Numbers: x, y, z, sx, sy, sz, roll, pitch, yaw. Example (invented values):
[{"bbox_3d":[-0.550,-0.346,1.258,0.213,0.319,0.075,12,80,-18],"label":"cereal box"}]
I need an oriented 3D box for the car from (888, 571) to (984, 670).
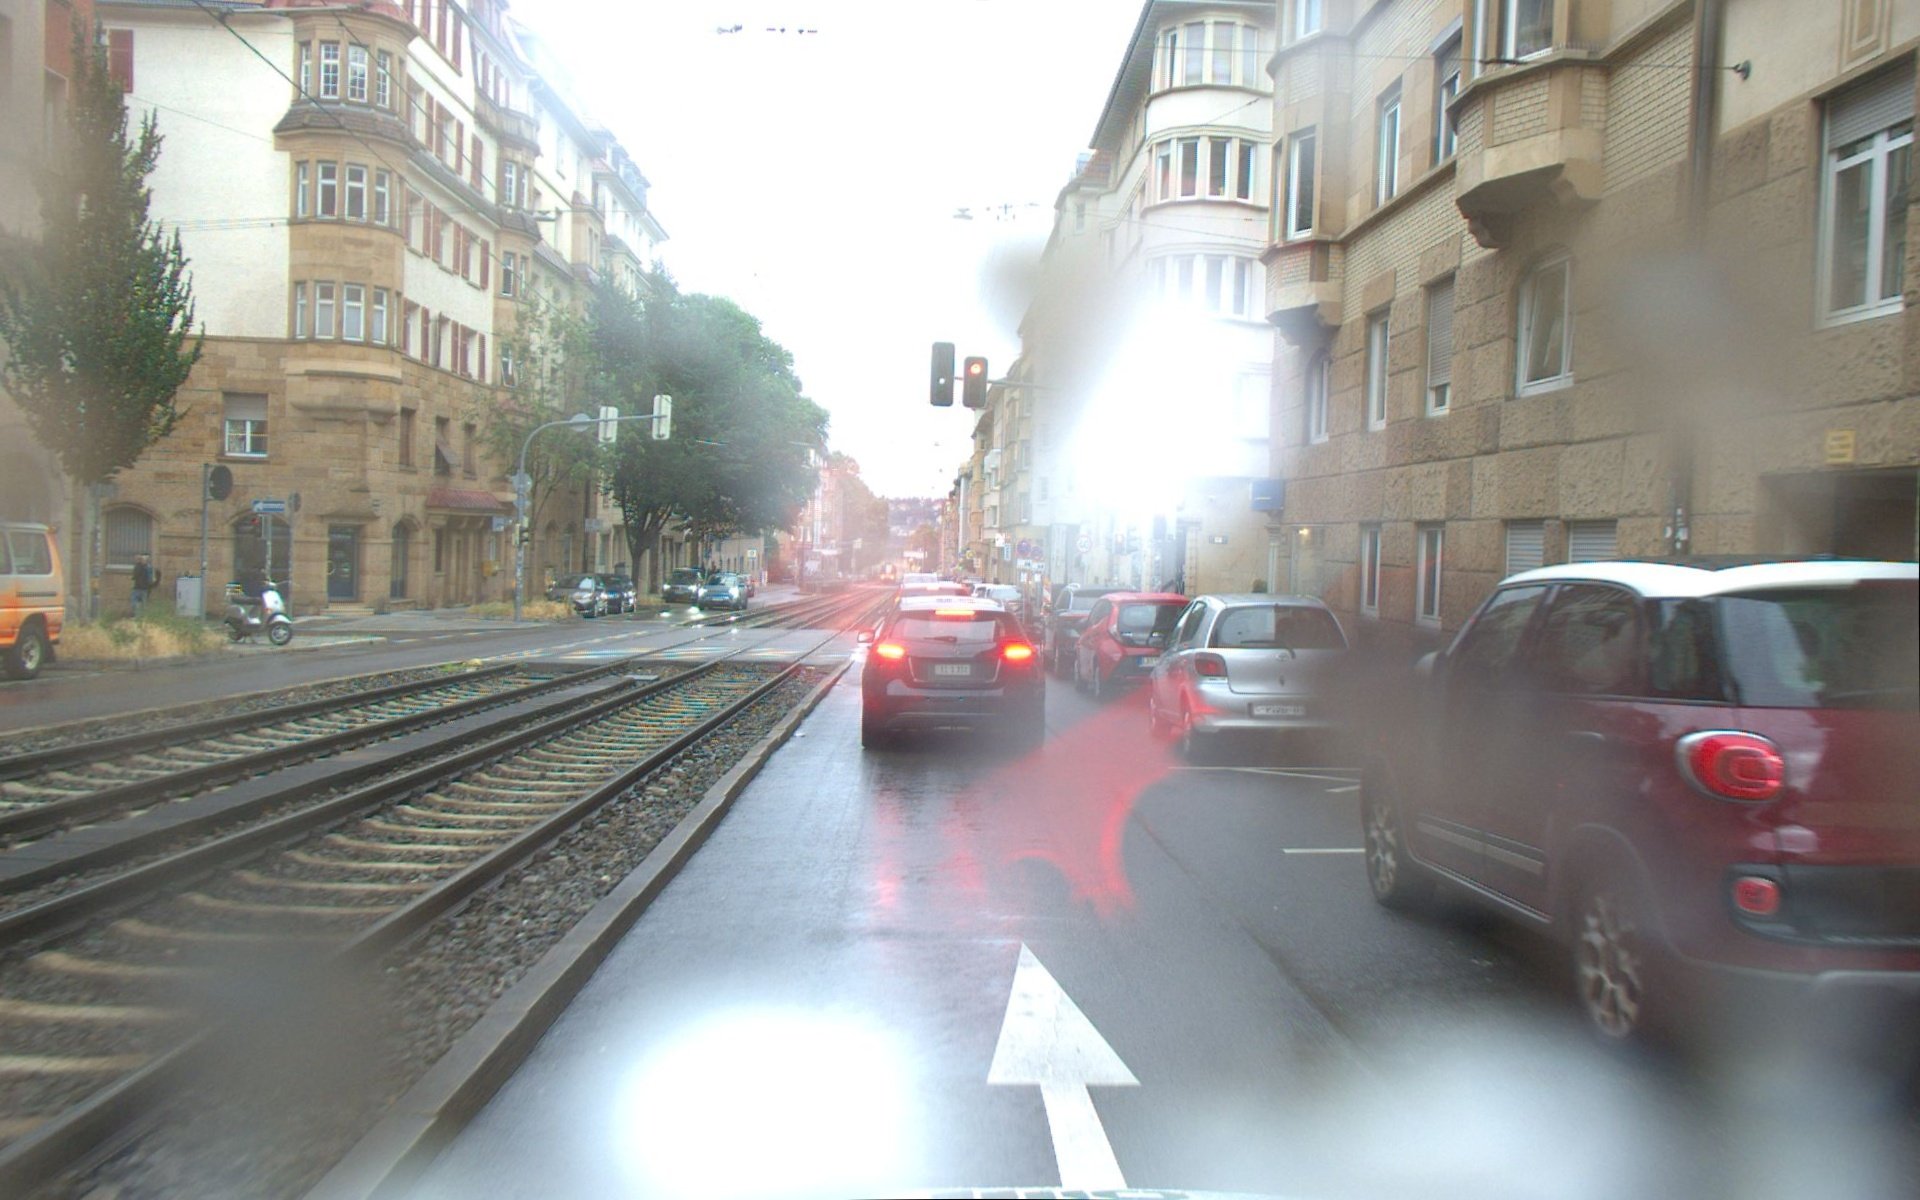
[{"bbox_3d":[-0.423,0.317,28.696,1.504,1.536,3.999,2,0,-1],"label":"car"}]

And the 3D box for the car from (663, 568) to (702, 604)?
[{"bbox_3d":[-14.155,-0.695,84.453,1.756,1.721,3.994,2,0,-7],"label":"car"}]

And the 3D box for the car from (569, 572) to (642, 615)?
[{"bbox_3d":[-13.594,-0.238,63.684,1.953,1.544,3.999,2,0,-1],"label":"car"}]

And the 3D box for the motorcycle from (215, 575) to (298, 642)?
[{"bbox_3d":[-12.807,0.152,30.117,1.409,1.154,0.619,2,0,28],"label":"motorcycle"}]

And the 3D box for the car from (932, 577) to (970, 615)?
[{"bbox_3d":[-0.477,-0.174,83.725,1.815,1.829,3.810,1,-1,-1],"label":"car"}]

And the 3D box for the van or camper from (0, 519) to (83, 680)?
[{"bbox_3d":[-12.472,-0.044,19.450,1.954,1.934,4.696,2,0,-3],"label":"van or camper"}]

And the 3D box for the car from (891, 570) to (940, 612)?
[{"bbox_3d":[-1.876,-0.388,70.815,1.882,1.684,4.001,2,0,1],"label":"car"}]

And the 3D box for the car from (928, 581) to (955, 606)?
[{"bbox_3d":[-1.328,-0.459,118.043,1.870,1.735,3.999,2,0,-1],"label":"car"}]

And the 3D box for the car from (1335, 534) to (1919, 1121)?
[{"bbox_3d":[2.961,0.663,6.751,1.677,1.657,3.997,2,0,-4],"label":"car"}]

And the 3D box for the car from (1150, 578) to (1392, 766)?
[{"bbox_3d":[2.906,0.619,16.110,1.604,1.569,3.465,2,0,-1],"label":"car"}]

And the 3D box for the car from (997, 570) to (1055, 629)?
[{"bbox_3d":[2.369,0.011,60.159,1.860,2.063,4.175,1,-1,-1],"label":"car"}]

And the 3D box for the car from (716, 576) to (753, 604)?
[{"bbox_3d":[-14.982,-0.657,109.916,1.893,1.758,4.185,2,0,-1],"label":"car"}]

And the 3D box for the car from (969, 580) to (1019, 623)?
[{"bbox_3d":[1.452,0.109,72.576,1.734,1.807,3.995,1,-1,-5],"label":"car"}]

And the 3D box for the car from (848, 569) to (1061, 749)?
[{"bbox_3d":[-0.124,0.551,16.783,1.907,1.592,3.641,1,-1,-3],"label":"car"}]

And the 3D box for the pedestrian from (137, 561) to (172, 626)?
[{"bbox_3d":[-22.360,-0.177,45.896,0.595,1.763,0.642,2,0,-1],"label":"pedestrian"}]

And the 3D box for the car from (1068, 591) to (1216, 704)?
[{"bbox_3d":[2.516,0.620,23.495,1.570,1.444,3.147,2,0,-3],"label":"car"}]

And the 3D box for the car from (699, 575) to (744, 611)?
[{"bbox_3d":[-10.794,-0.322,74.991,1.760,1.575,3.996,0,0,-5],"label":"car"}]

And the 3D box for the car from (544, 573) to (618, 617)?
[{"bbox_3d":[-13.320,-0.165,58.368,1.735,1.490,3.999,1,0,-1],"label":"car"}]

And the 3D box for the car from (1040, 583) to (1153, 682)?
[{"bbox_3d":[2.312,0.518,28.838,1.518,1.534,3.999,3,0,-1],"label":"car"}]

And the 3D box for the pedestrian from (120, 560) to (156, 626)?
[{"bbox_3d":[-22.410,-0.185,45.094,0.595,1.763,0.642,2,0,-1],"label":"pedestrian"}]
